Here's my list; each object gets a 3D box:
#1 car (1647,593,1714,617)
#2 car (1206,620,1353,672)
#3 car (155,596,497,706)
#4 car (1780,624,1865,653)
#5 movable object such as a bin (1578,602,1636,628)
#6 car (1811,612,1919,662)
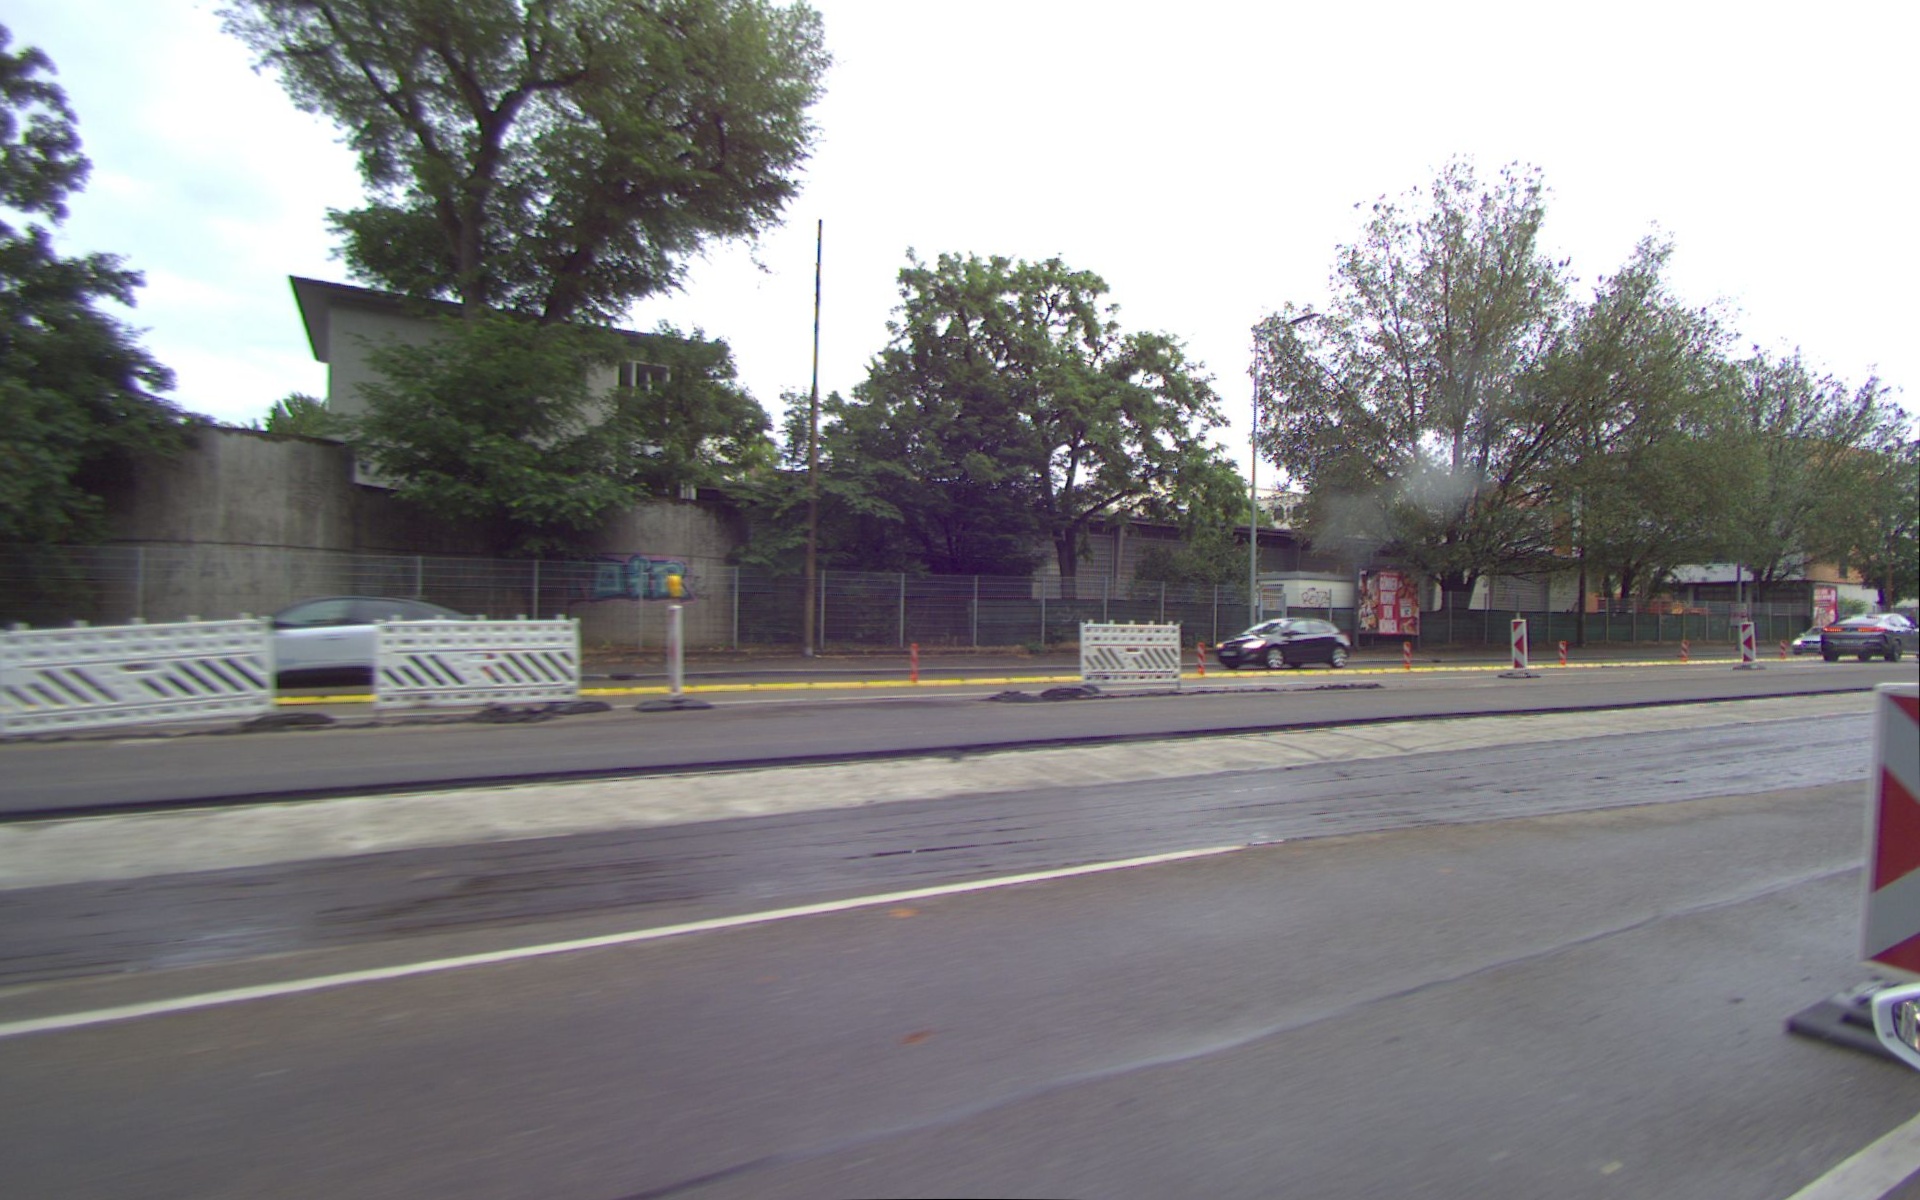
[{"bbox_3d":[47.907,0.341,66.866,1.959,1.548,4.026,0,-1,8],"label":"car"},{"bbox_3d":[9.175,1.284,28.800,4.120,1.401,1.698,1,-2,-30],"label":"car"},{"bbox_3d":[-9.295,0.722,15.095,4.100,1.453,1.827,1,-1,-30],"label":"car"},{"bbox_3d":[40.946,1.833,47.646,4.401,1.332,1.659,1,-3,-30],"label":"car"},{"bbox_3d":[39.837,0.902,61.937,1.718,1.548,4.026,0,-1,13],"label":"movable object such as a bin"},{"bbox_3d":[32.344,1.278,35.684,4.343,1.672,1.884,1,-1,-30],"label":"car"}]
